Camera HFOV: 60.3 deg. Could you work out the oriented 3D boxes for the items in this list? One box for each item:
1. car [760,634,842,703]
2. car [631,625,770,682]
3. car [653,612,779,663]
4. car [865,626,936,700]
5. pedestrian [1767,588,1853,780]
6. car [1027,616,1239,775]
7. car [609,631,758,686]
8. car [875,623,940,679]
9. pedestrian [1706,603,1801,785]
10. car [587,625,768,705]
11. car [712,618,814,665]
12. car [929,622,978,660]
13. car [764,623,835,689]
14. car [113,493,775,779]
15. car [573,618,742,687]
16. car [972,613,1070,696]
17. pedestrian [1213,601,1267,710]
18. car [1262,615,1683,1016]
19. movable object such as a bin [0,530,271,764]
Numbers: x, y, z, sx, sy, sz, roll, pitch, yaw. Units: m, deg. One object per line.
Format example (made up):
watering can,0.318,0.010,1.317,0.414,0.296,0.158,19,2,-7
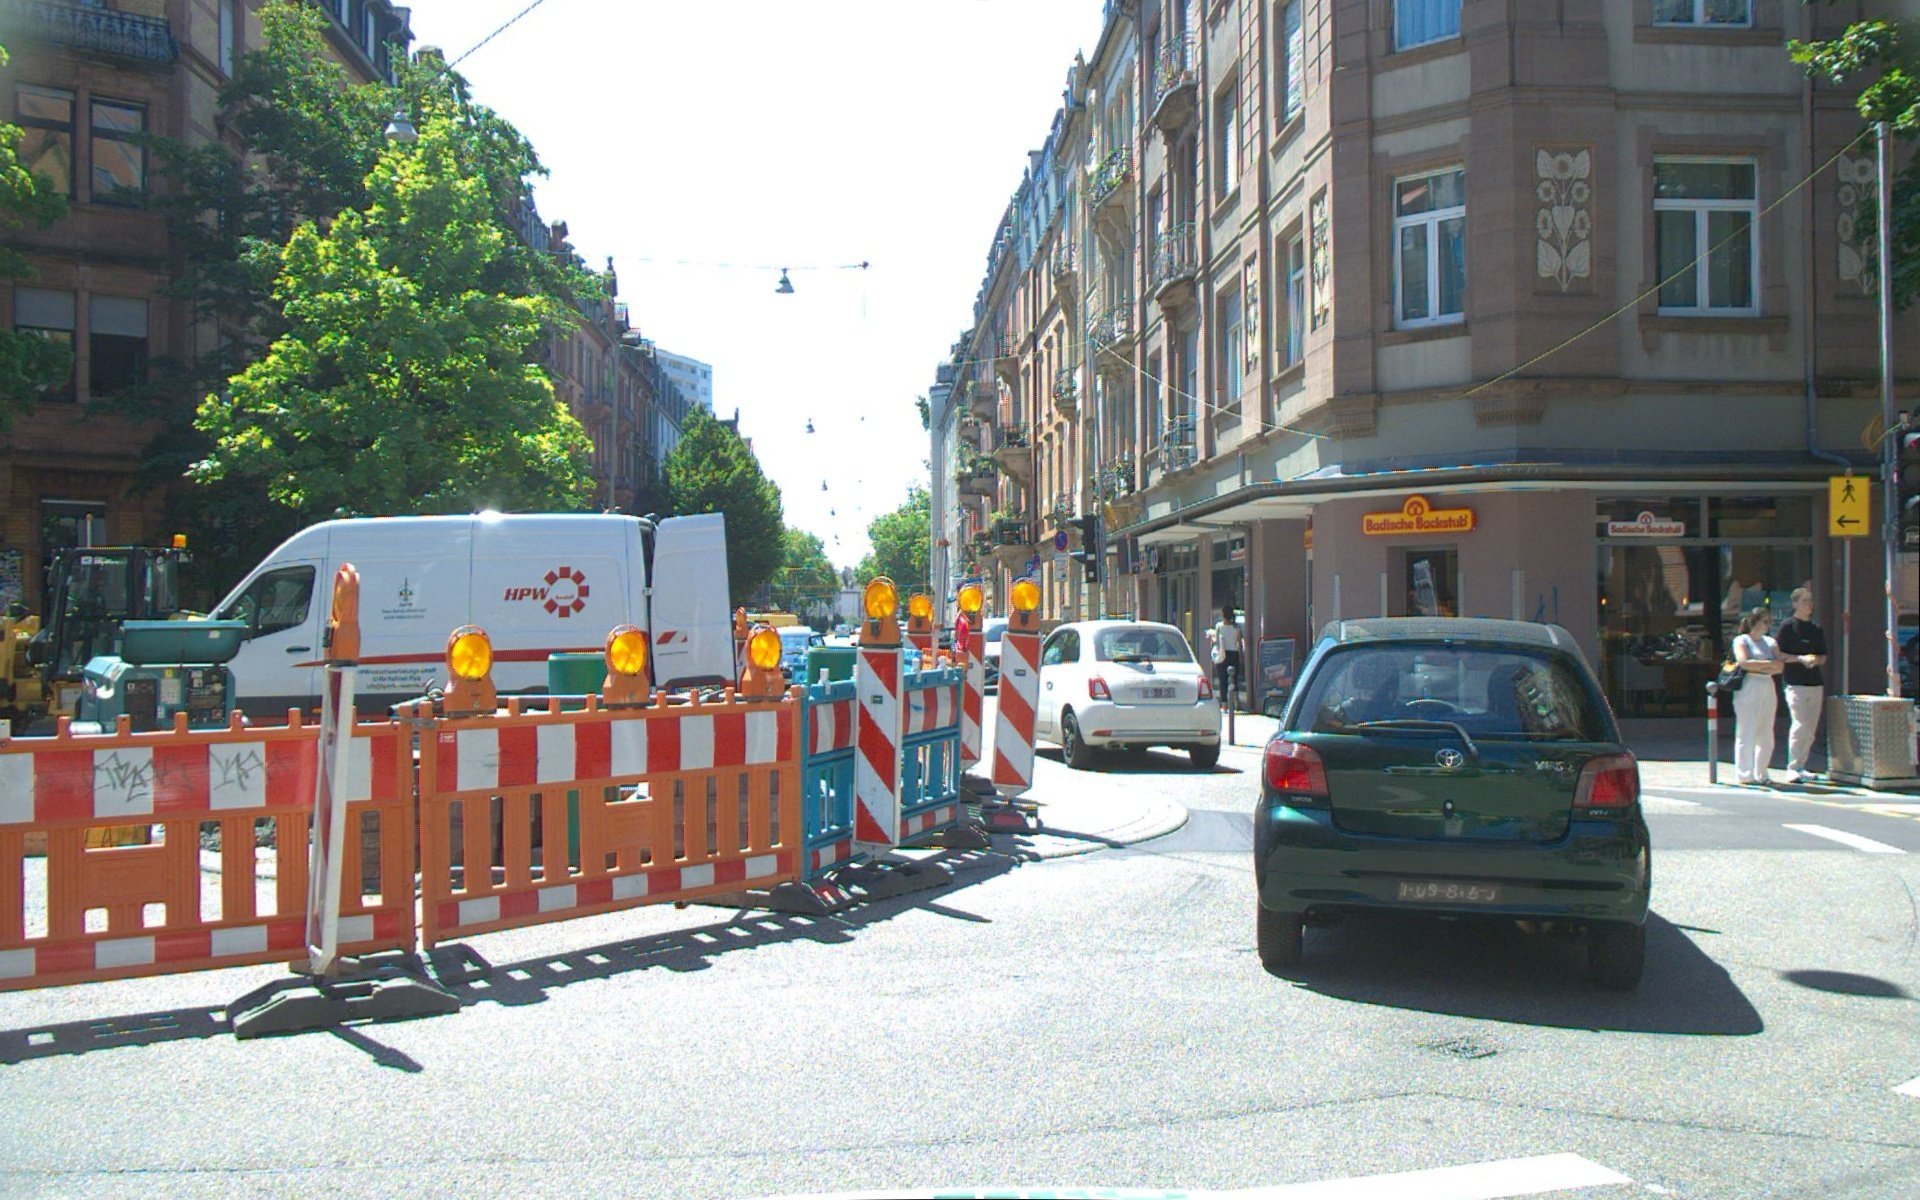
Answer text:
car,-3.662,1.555,38.573,1.720,1.469,3.997,-1,-1,-3
car,-7.879,1.602,50.464,3.893,1.647,1.836,1,-1,-44
car,-9.931,1.515,67.459,4.728,2.029,2.031,0,-1,-33
car,-1.433,1.437,38.693,1.493,1.620,3.260,0,-1,-5
pedestrian,8.255,0.799,16.067,0.565,1.799,0.470,-2,3,-12
car,1.782,0.955,17.935,1.494,1.548,3.256,0,-1,-9
car,-7.890,1.653,47.349,3.894,1.496,1.835,1,-1,-45
car,-1.748,1.639,53.975,1.954,1.646,3.997,-3,-1,-4
pedestrian,7.619,0.893,15.889,0.689,1.673,0.422,-3,3,-12
car,-6.839,1.580,40.182,3.950,1.836,1.749,2,-1,-33
car,-9.513,2.002,80.028,4.511,2.226,1.979,0,-1,-31
car,-0.294,1.616,66.046,1.720,1.454,3.997,-1,-1,-3
car,-4.479,1.533,46.603,1.720,1.674,4.374,-3,-1,-3
car,-5.422,0.403,18.265,6.489,2.800,2.378,1,-1,-2
car,-7.772,1.356,42.484,3.939,1.687,1.745,2,-1,-27
car,1.341,1.218,38.104,1.834,1.743,4.501,-2,-1,-3
pedestrian,4.296,0.842,25.413,0.628,1.652,0.803,0,-1,-3
car,2.334,0.837,8.063,1.579,1.511,3.243,0,0,12
movable object such as a bin,-11.140,0.552,20.346,4.456,2.706,1.952,1,-1,-7
